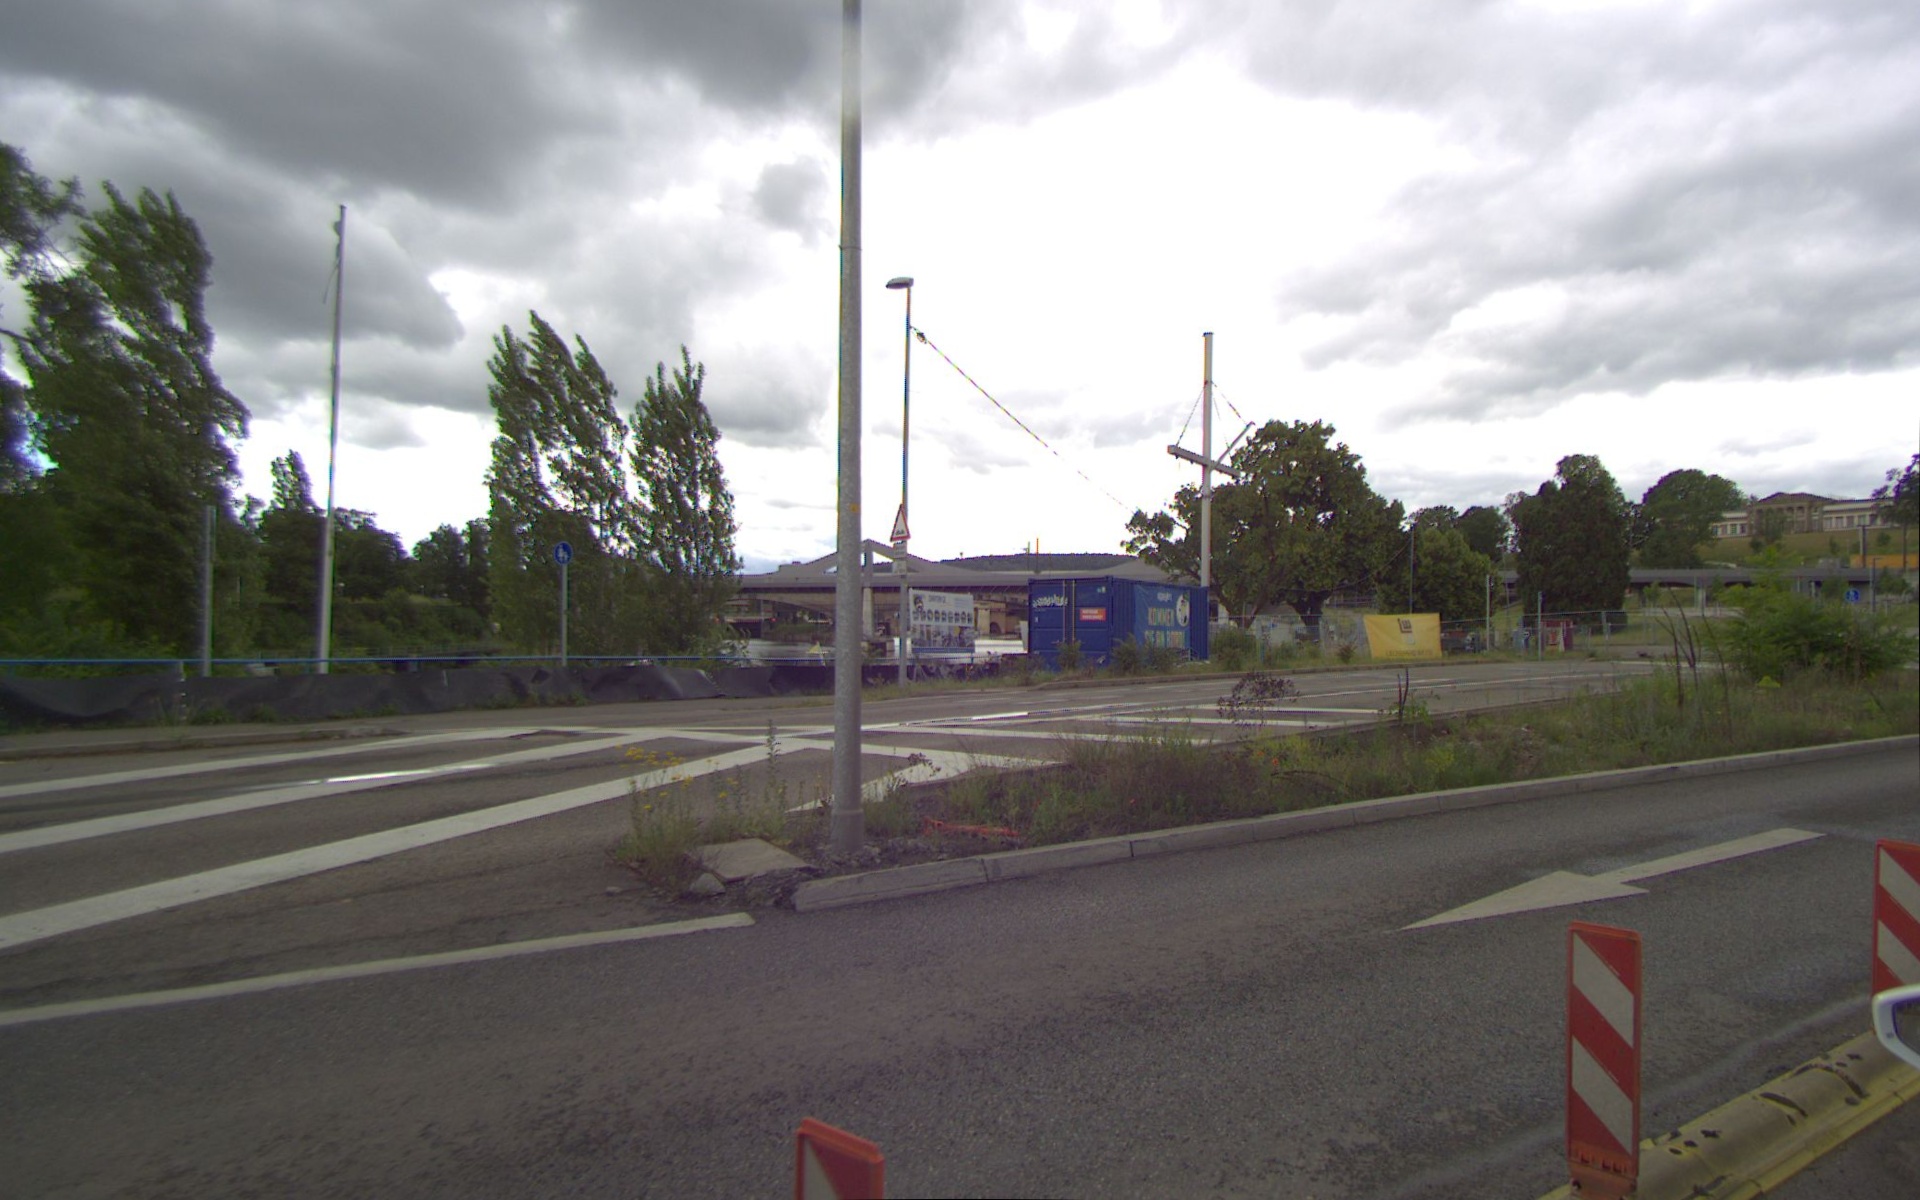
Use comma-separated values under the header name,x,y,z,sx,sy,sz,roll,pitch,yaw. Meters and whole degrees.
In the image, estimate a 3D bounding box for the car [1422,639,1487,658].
name,x,y,z,sx,sy,sz,roll,pitch,yaw
car,35.223,3.469,71.576,3.842,1.308,1.805,-1,-2,14

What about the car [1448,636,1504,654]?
name,x,y,z,sx,sy,sz,roll,pitch,yaw
car,38.978,3.404,75.934,3.436,1.308,1.603,0,-1,8
